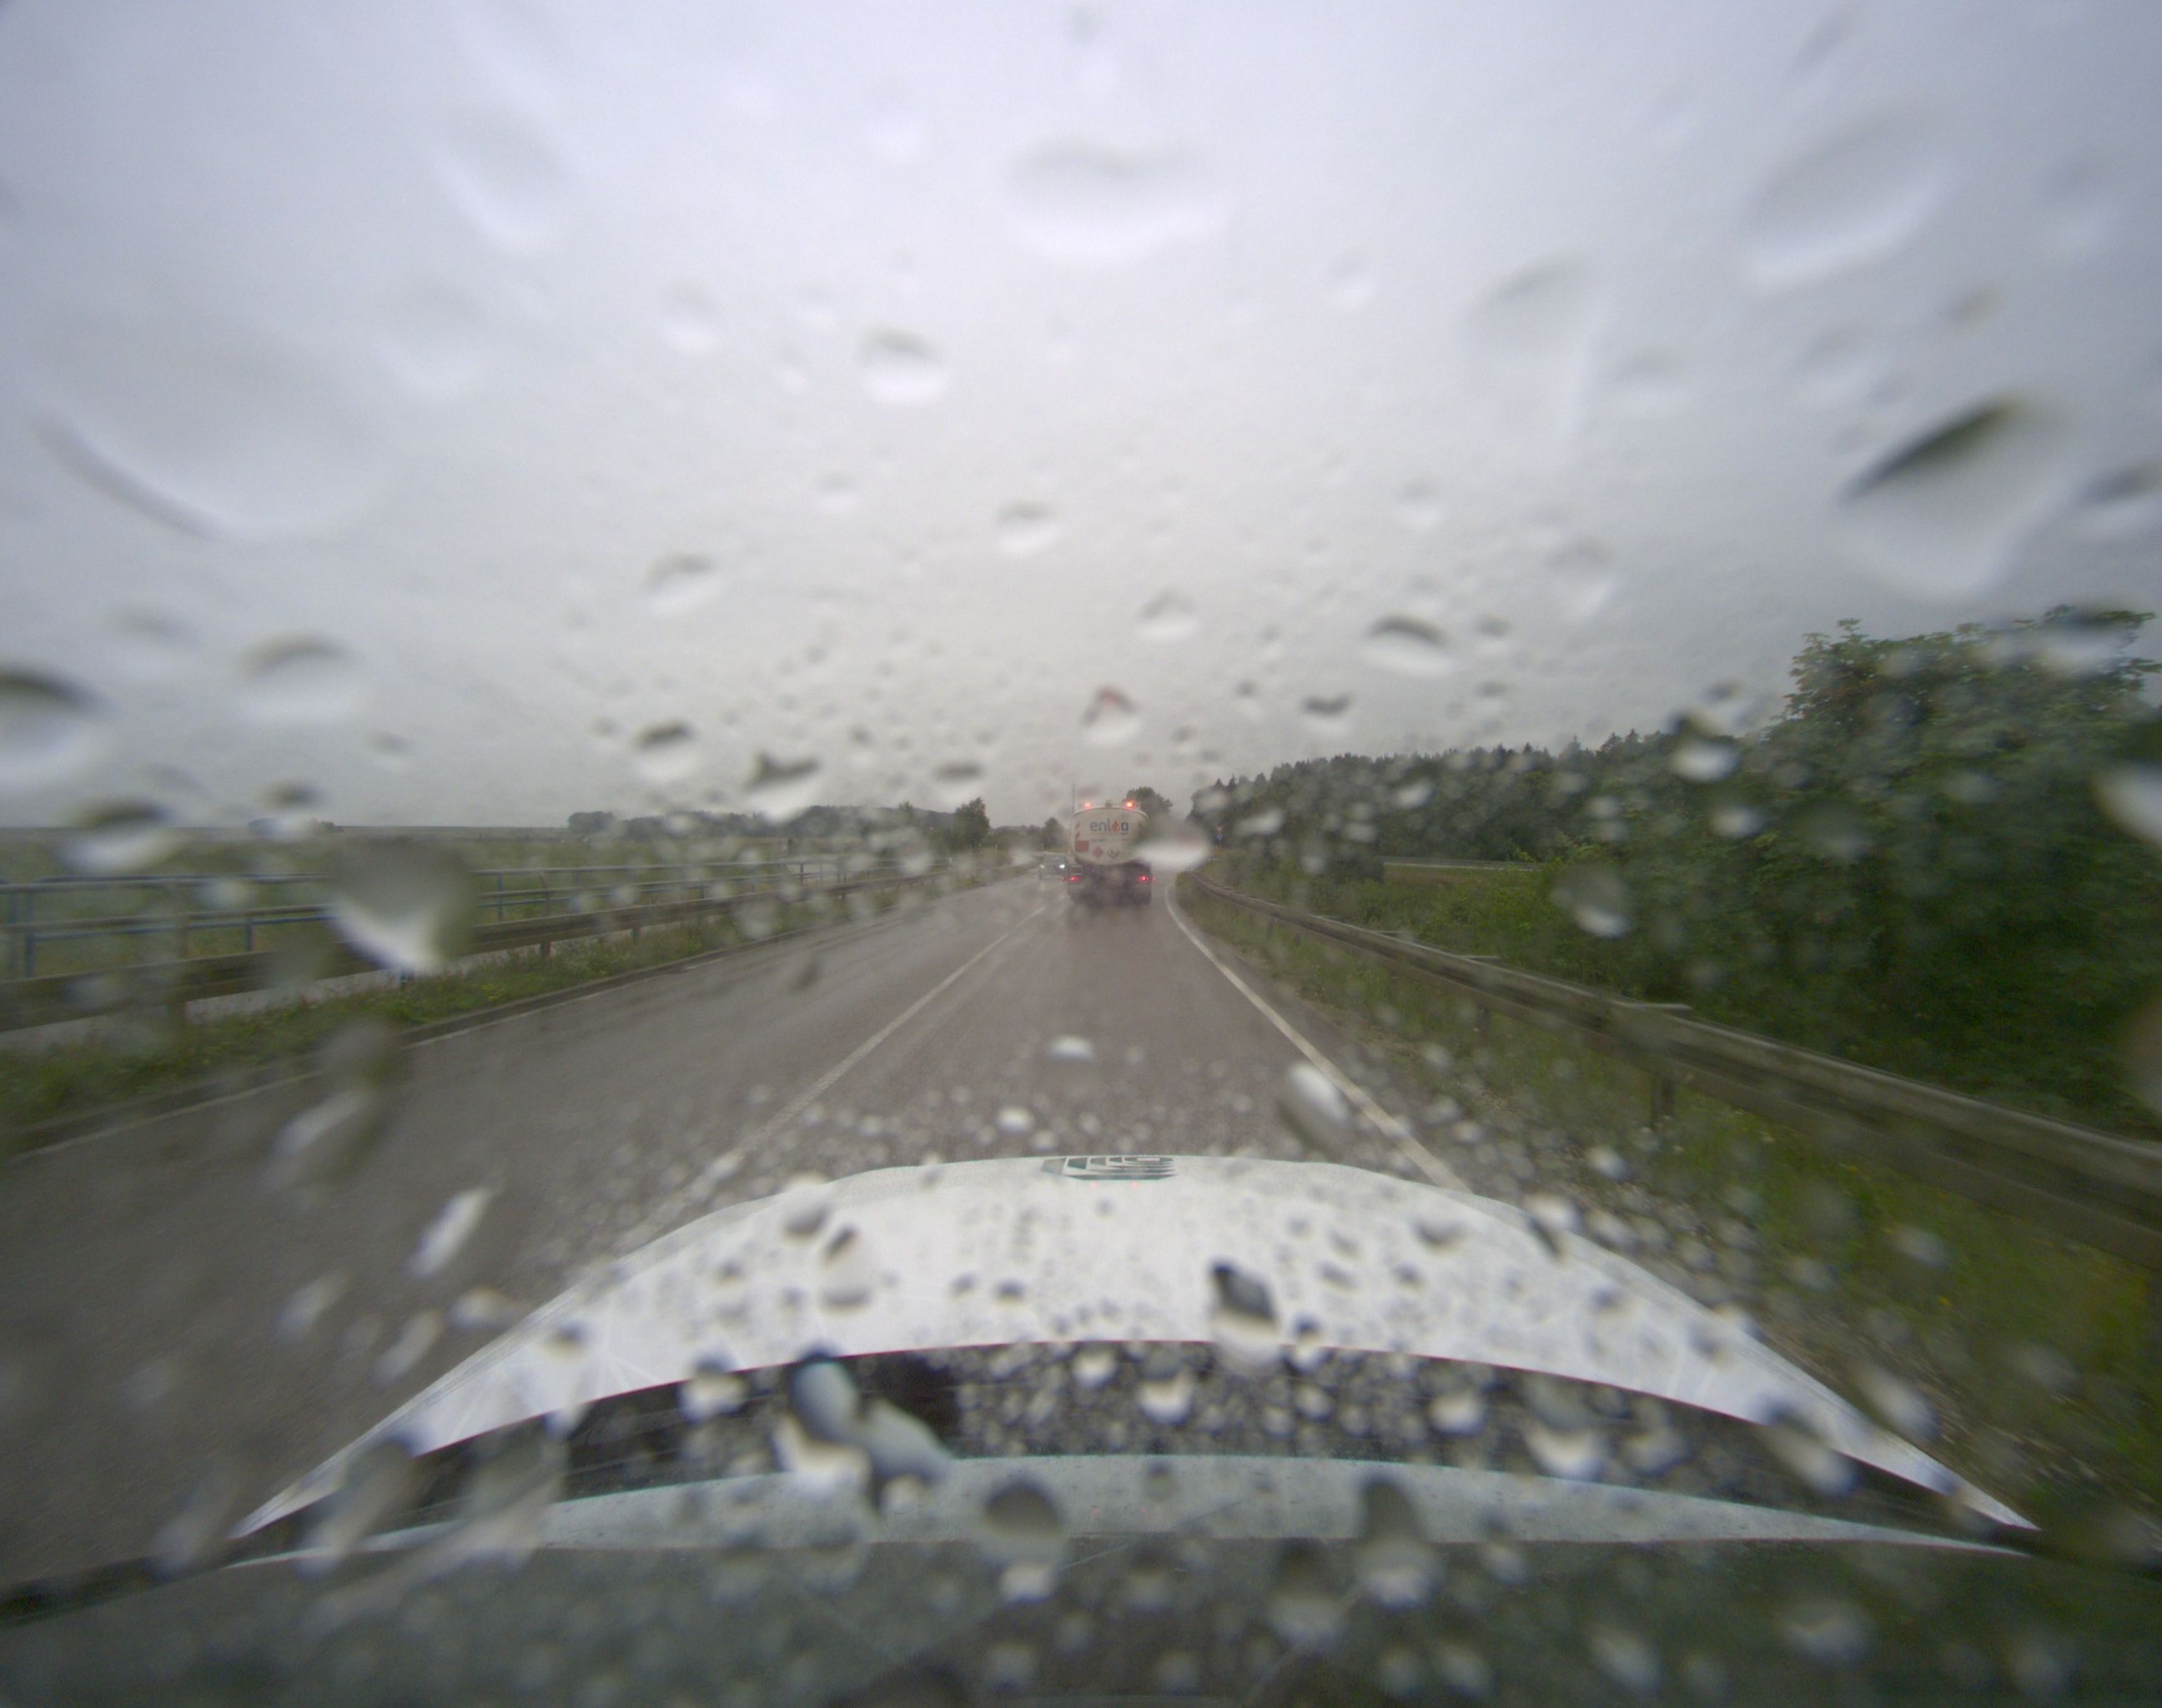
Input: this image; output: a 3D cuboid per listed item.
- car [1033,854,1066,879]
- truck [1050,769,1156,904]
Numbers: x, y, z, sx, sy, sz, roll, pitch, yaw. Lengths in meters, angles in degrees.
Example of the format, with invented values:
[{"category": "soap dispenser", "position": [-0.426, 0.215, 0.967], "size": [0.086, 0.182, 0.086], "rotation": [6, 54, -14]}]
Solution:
[{"category": "car", "position": [-1.959, 0.762, 51.502], "size": [1.773, 1.526, 4.171], "rotation": [0, 0, 2]}, {"category": "truck", "position": [0.974, -0.546, 27.825], "size": [3.025, 3.851, 8.834], "rotation": [-1, 1, 4]}]
